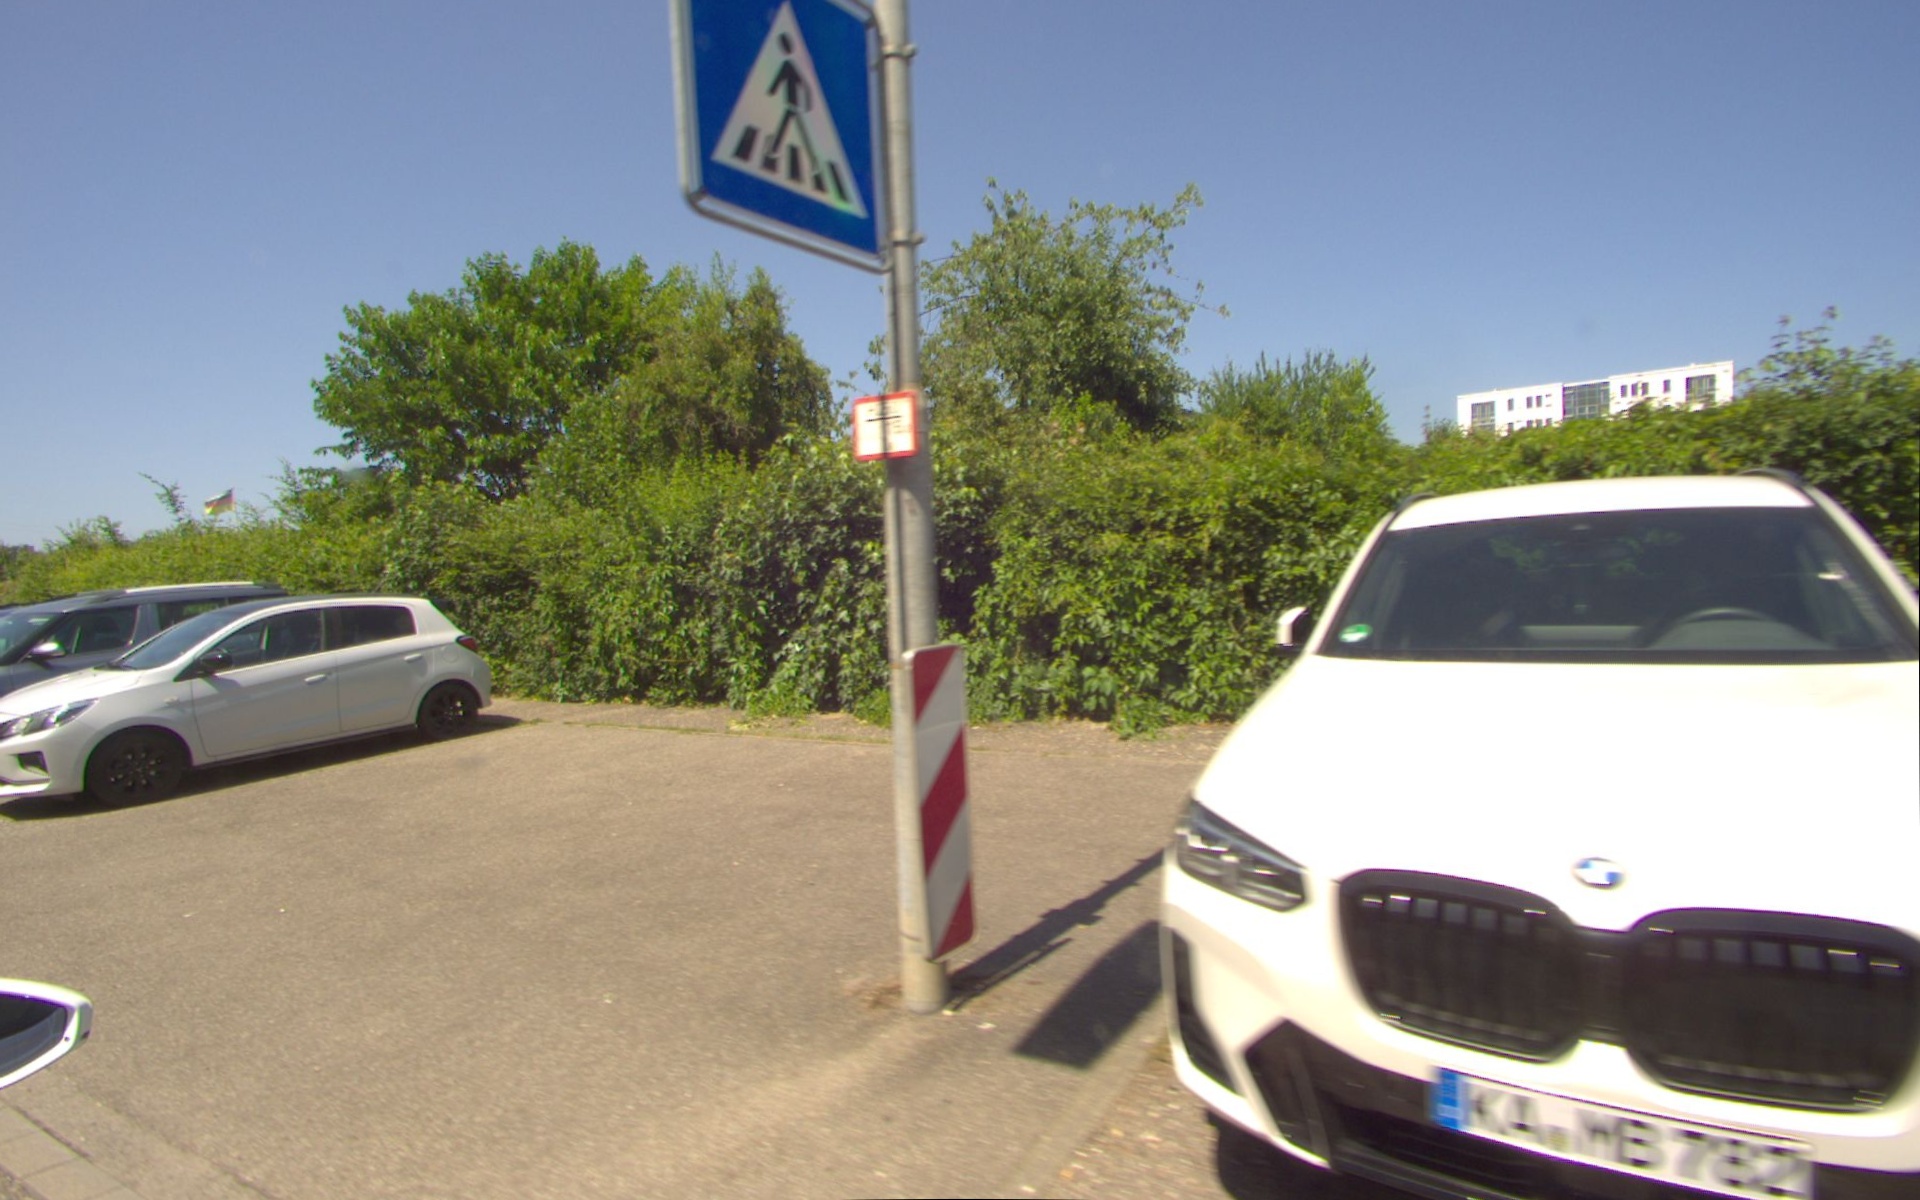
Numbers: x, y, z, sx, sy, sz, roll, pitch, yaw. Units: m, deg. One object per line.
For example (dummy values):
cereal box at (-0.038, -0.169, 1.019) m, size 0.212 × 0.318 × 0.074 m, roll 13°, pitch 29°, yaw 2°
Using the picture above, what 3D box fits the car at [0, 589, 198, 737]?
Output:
car at (-11.377, 0.769, 11.763) m, size 1.515 × 1.549 × 3.447 m, roll -1°, pitch 4°, yaw 26°

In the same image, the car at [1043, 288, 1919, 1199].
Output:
car at (2.130, 0.374, 3.472) m, size 1.825 × 1.753 × 4.443 m, roll -2°, pitch 2°, yaw 31°

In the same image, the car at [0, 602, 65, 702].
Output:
car at (-16.063, 0.878, 15.186) m, size 1.566 × 1.525 × 3.376 m, roll 0°, pitch 3°, yaw 34°

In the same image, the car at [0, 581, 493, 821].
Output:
car at (-6.406, 0.690, 8.956) m, size 1.588 × 1.471 × 3.675 m, roll 0°, pitch 4°, yaw 35°

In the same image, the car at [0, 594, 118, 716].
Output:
car at (-13.893, 0.846, 13.062) m, size 1.834 × 1.544 × 3.957 m, roll -1°, pitch 4°, yaw 26°

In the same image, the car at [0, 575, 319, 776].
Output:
car at (-9.022, 0.708, 10.079) m, size 1.637 × 1.663 × 3.955 m, roll -1°, pitch 4°, yaw 26°
